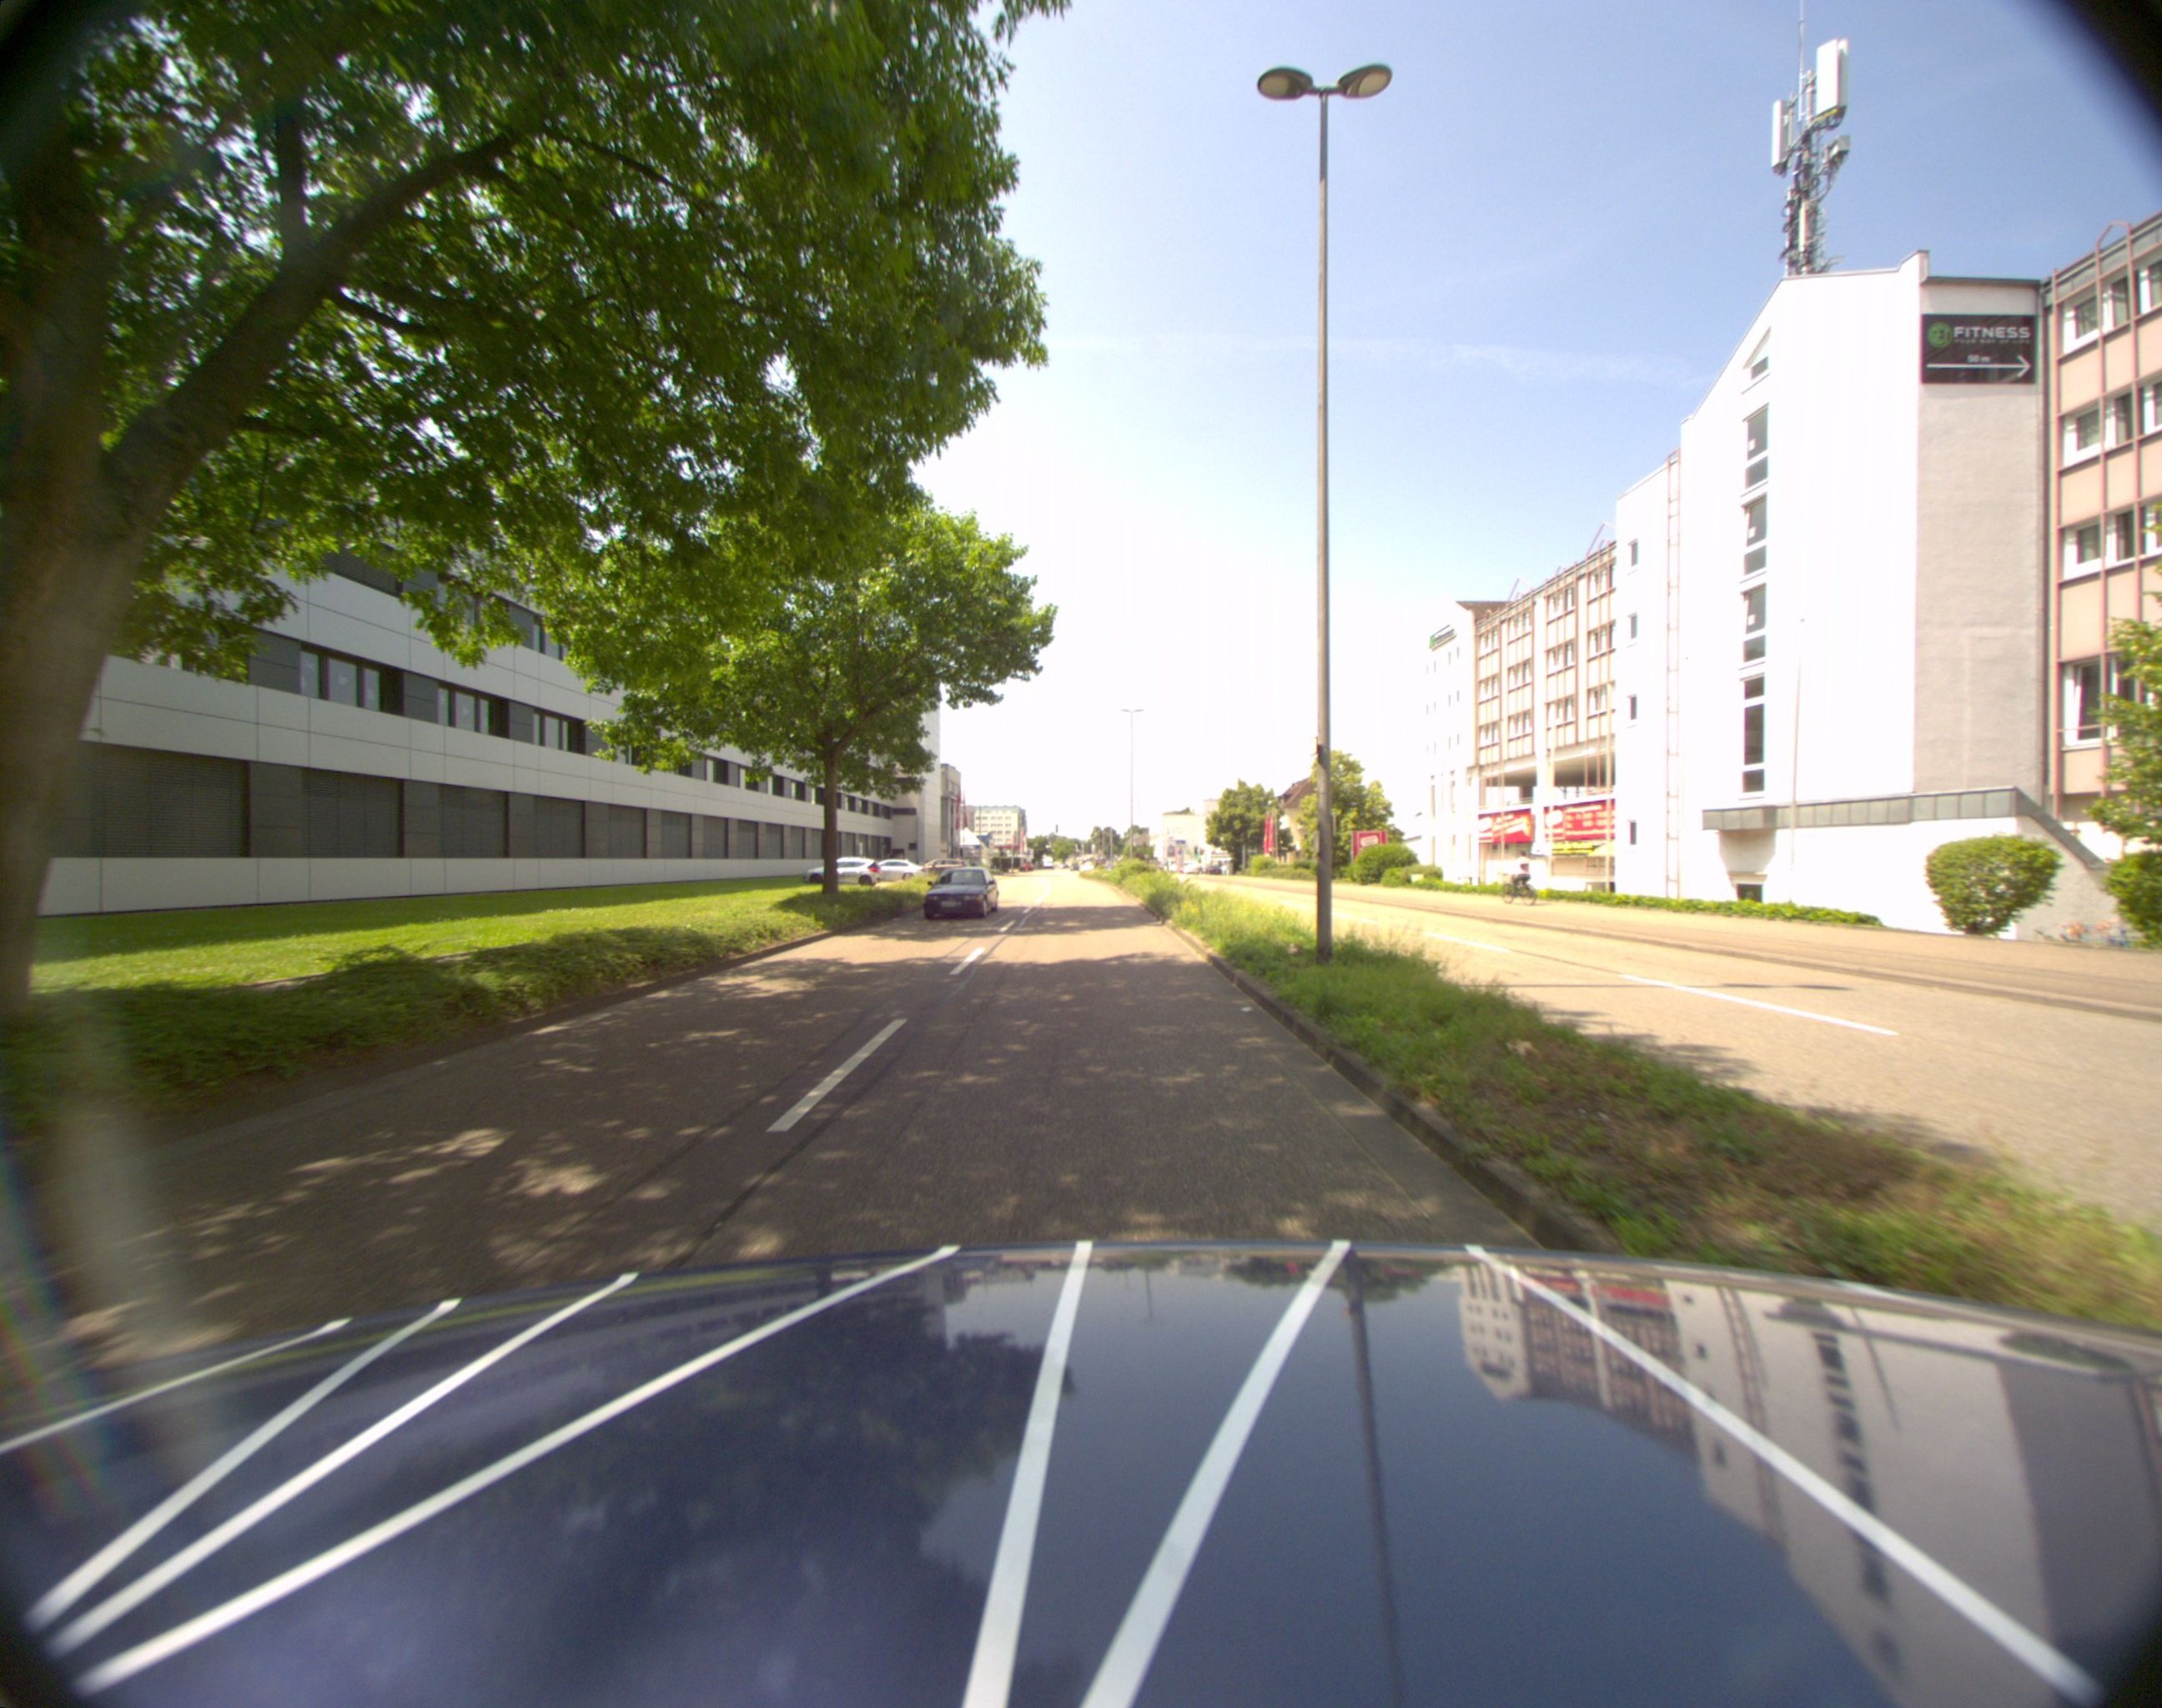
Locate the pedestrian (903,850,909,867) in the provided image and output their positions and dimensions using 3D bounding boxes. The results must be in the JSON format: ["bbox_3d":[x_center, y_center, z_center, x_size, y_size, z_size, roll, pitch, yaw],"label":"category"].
[{"bbox_3d":[-17.370,0.442,75.427,0.524,1.653,0.756,1,0,-17],"label":"pedestrian"}]

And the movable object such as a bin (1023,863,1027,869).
[{"bbox_3d":[-8.689,1.933,118.521,0.552,0.914,0.653,3,0,1],"label":"movable object such as a bin"}]

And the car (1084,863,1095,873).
[{"bbox_3d":[1.311,2.165,116.827,1.693,1.425,3.711,0,0,1],"label":"car"}]

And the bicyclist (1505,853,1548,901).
[{"bbox_3d":[14.071,0.712,24.023,0.719,1.507,1.026,1,0,-3],"label":"bicyclist"}]

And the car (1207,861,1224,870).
[{"bbox_3d":[19.884,1.677,112.381,1.737,1.343,3.999,0,0,-2],"label":"car"}]

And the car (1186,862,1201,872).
[{"bbox_3d":[16.706,1.949,113.210,1.780,1.402,4.761,1,-1,4],"label":"car"}]

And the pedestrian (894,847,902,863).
[{"bbox_3d":[-17.878,0.092,74.164,0.594,1.625,0.523,1,0,9],"label":"pedestrian"}]

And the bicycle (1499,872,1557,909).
[{"bbox_3d":[14.065,1.124,23.964,0.552,1.067,2.062,-1,0,-2],"label":"bicycle"}]

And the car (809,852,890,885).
[{"bbox_3d":[-12.320,0.751,40.618,3.823,1.582,1.732,3,0,-4],"label":"car"}]

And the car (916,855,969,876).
[{"bbox_3d":[-11.873,0.984,65.232,4.271,1.679,1.999,1,0,-4],"label":"car"}]

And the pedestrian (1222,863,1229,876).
[{"bbox_3d":[18.809,2.044,98.785,0.742,1.737,1.034,0,0,3],"label":"pedestrian"}]

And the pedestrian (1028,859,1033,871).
[{"bbox_3d":[-7.842,1.678,117.886,0.787,1.836,0.936,0,0,3],"label":"pedestrian"}]

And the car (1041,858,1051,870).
[{"bbox_3d":[-8.793,2.553,191.022,2.183,2.757,7.278,2,0,0],"label":"car"}]

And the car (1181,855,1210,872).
[{"bbox_3d":[19.043,1.569,126.273,4.556,1.699,1.760,-13,0,8],"label":"car"}]

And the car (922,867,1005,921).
[{"bbox_3d":[-3.259,1.079,21.721,1.632,1.331,3.757,-1,-1,2],"label":"car"}]

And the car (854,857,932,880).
[{"bbox_3d":[-12.117,0.933,49.325,4.627,1.382,1.999,1,0,-4],"label":"car"}]
